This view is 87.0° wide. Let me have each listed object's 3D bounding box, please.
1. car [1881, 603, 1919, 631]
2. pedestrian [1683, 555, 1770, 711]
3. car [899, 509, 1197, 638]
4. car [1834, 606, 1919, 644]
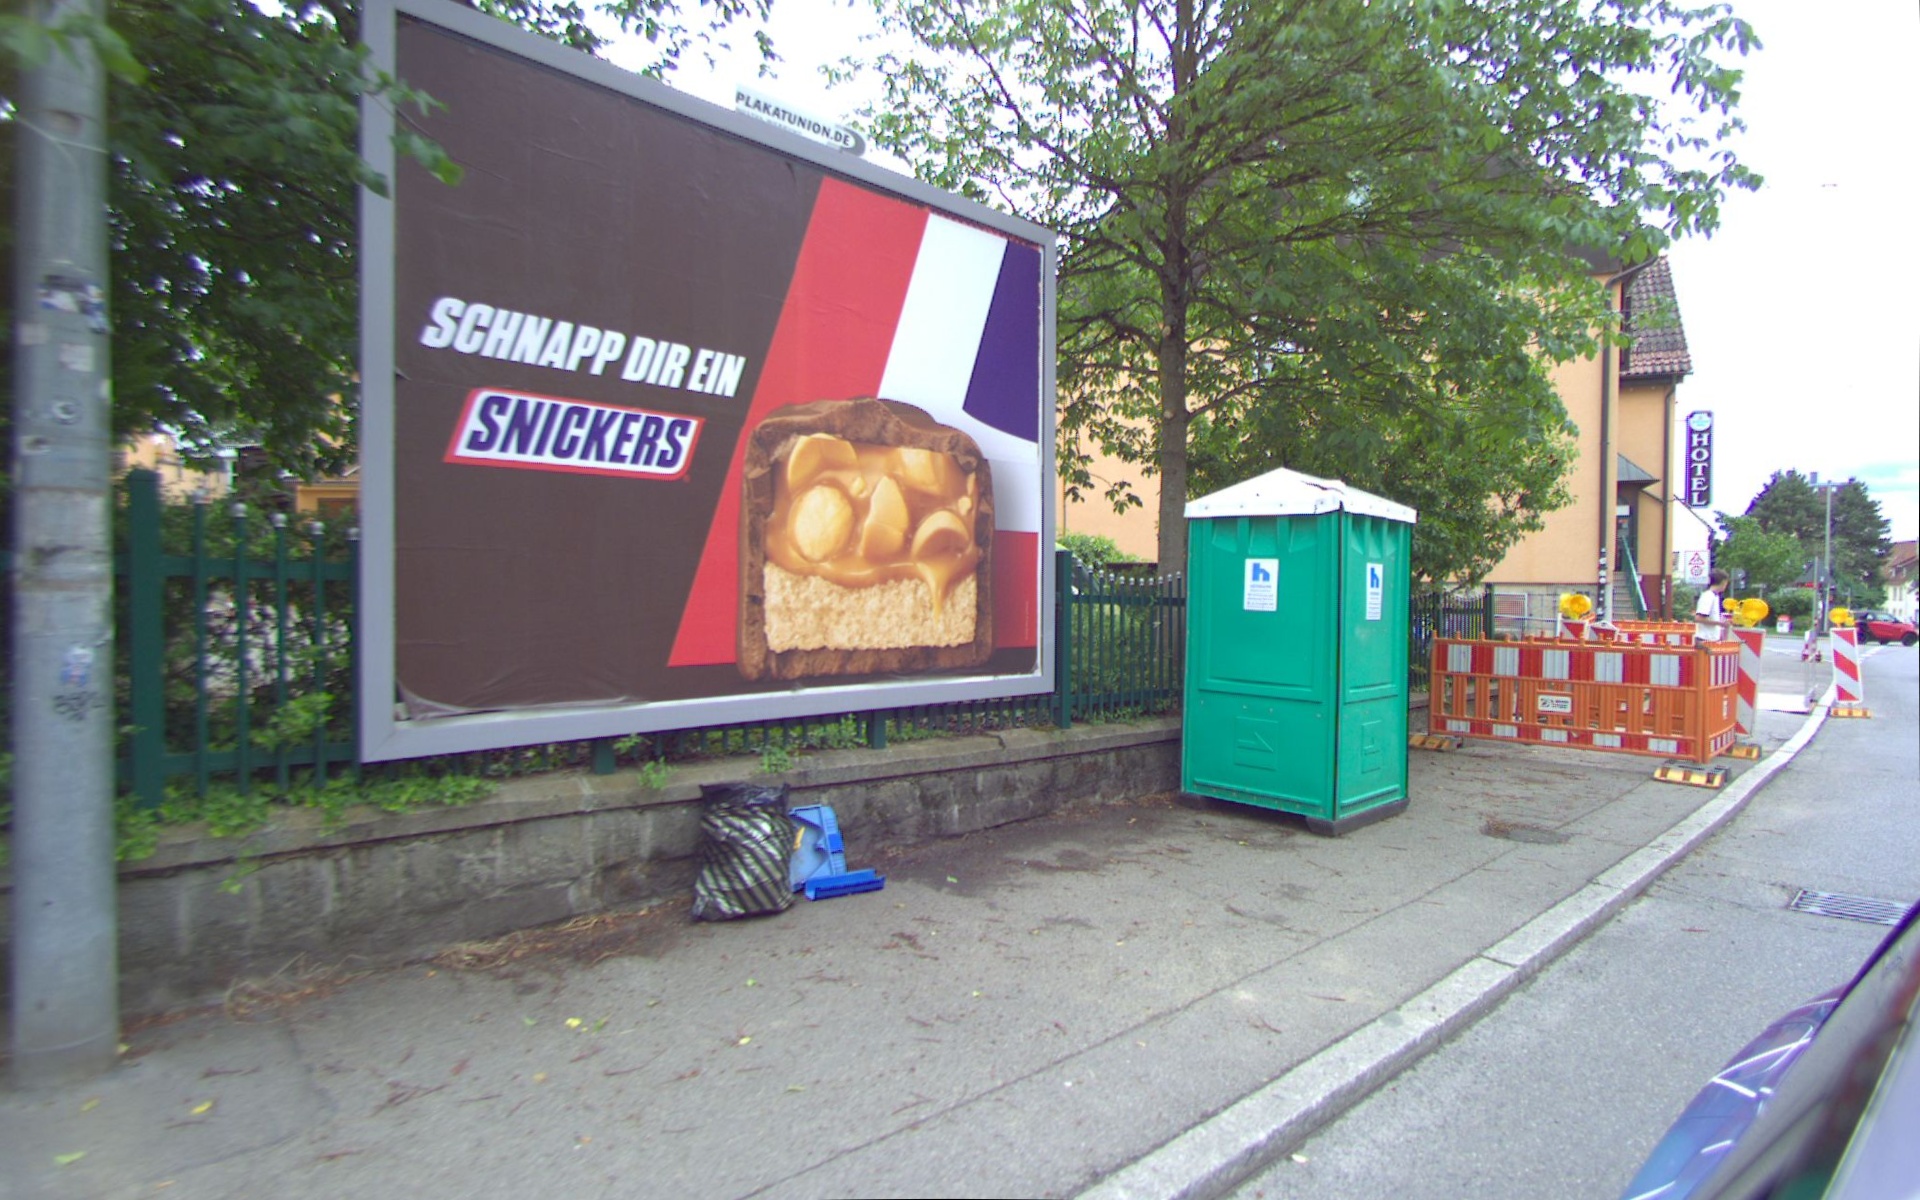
[{"bbox_3d":[54.210,0.955,58.084,3.933,1.499,1.717,1,1,-43],"label":"car"},{"bbox_3d":[10.203,0.414,13.465,0.798,1.974,0.823,2,1,42],"label":"pedestrian"},{"bbox_3d":[1.157,-0.360,14.404,3.983,1.582,1.721,1,1,41],"label":"car"},{"bbox_3d":[41.196,1.096,45.054,2.891,1.539,1.816,2,1,9],"label":"car"}]
